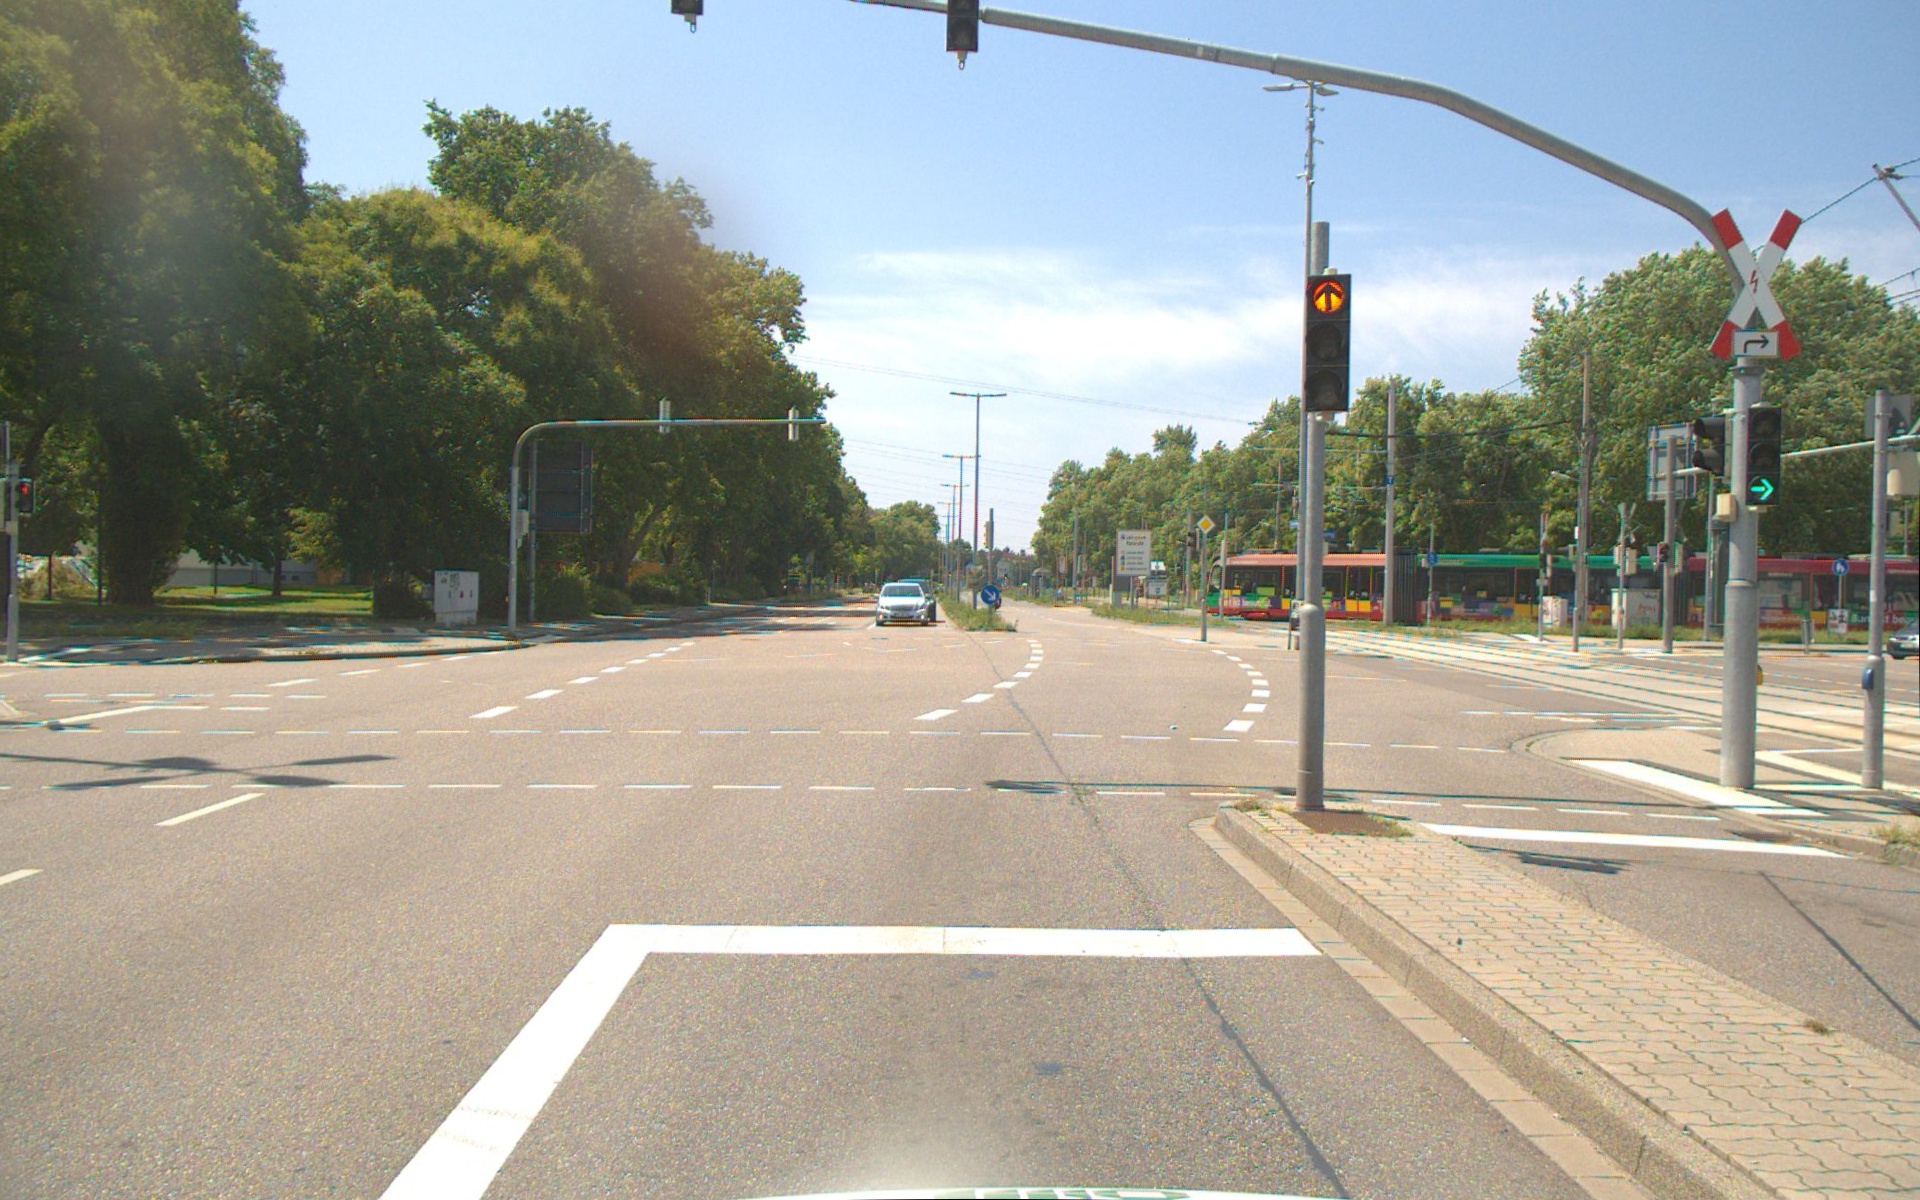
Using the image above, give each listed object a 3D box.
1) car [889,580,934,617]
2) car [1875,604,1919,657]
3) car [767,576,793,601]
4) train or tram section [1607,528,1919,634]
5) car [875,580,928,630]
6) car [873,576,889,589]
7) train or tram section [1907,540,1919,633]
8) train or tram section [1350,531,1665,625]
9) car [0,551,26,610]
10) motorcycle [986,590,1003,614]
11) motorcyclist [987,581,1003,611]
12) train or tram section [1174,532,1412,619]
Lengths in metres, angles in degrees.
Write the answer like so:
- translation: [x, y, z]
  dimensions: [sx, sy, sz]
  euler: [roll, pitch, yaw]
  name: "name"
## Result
- translation: [-1.891, -0.078, 65.246]
  dimensions: [1.676, 1.389, 3.865]
  euler: [1, 1, -1]
  name: "car"
- translation: [28.514, 0.875, 48.404]
  dimensions: [3.464, 1.488, 1.622]
  euler: [0, 1, -33]
  name: "car"
- translation: [-16.107, -1.052, 148.240]
  dimensions: [1.954, 2.048, 3.997]
  euler: [4, 0, -4]
  name: "car"
- translation: [35.433, -0.771, 71.393]
  dimensions: [13.703, 3.988, 2.924]
  euler: [2, -2, 4]
  name: "train or tram section"
- translation: [-2.016, 0.147, 58.012]
  dimensions: [1.748, 1.657, 3.865]
  euler: [1, 1, -1]
  name: "car"
- translation: [-9.106, -2.003, 190.996]
  dimensions: [1.637, 1.516, 3.710]
  euler: [1, 1, -1]
  name: "car"
- translation: [47.972, -0.270, 73.911]
  dimensions: [13.756, 3.988, 2.897]
  euler: [3, -3, -28]
  name: "train or tram section"
- translation: [24.455, -1.016, 74.332]
  dimensions: [13.152, 3.878, 2.920]
  euler: [1, -3, 27]
  name: "train or tram section"
- translation: [-30.921, -0.615, 49.846]
  dimensions: [1.758, 1.799, 4.526]
  euler: [1, 1, 39]
  name: "car"
- translation: [1.985, 0.112, 95.031]
  dimensions: [0.830, 1.277, 2.448]
  euler: [2, 0, -2]
  name: "motorcycle"
- translation: [2.005, -0.222, 95.176]
  dimensions: [0.774, 1.671, 1.211]
  euler: [2, 0, -1]
  name: "motorcyclist"
- translation: [16.272, -1.046, 82.294]
  dimensions: [2.892, 3.878, 12.901]
  euler: [4, -3, -37]
  name: "train or tram section"
